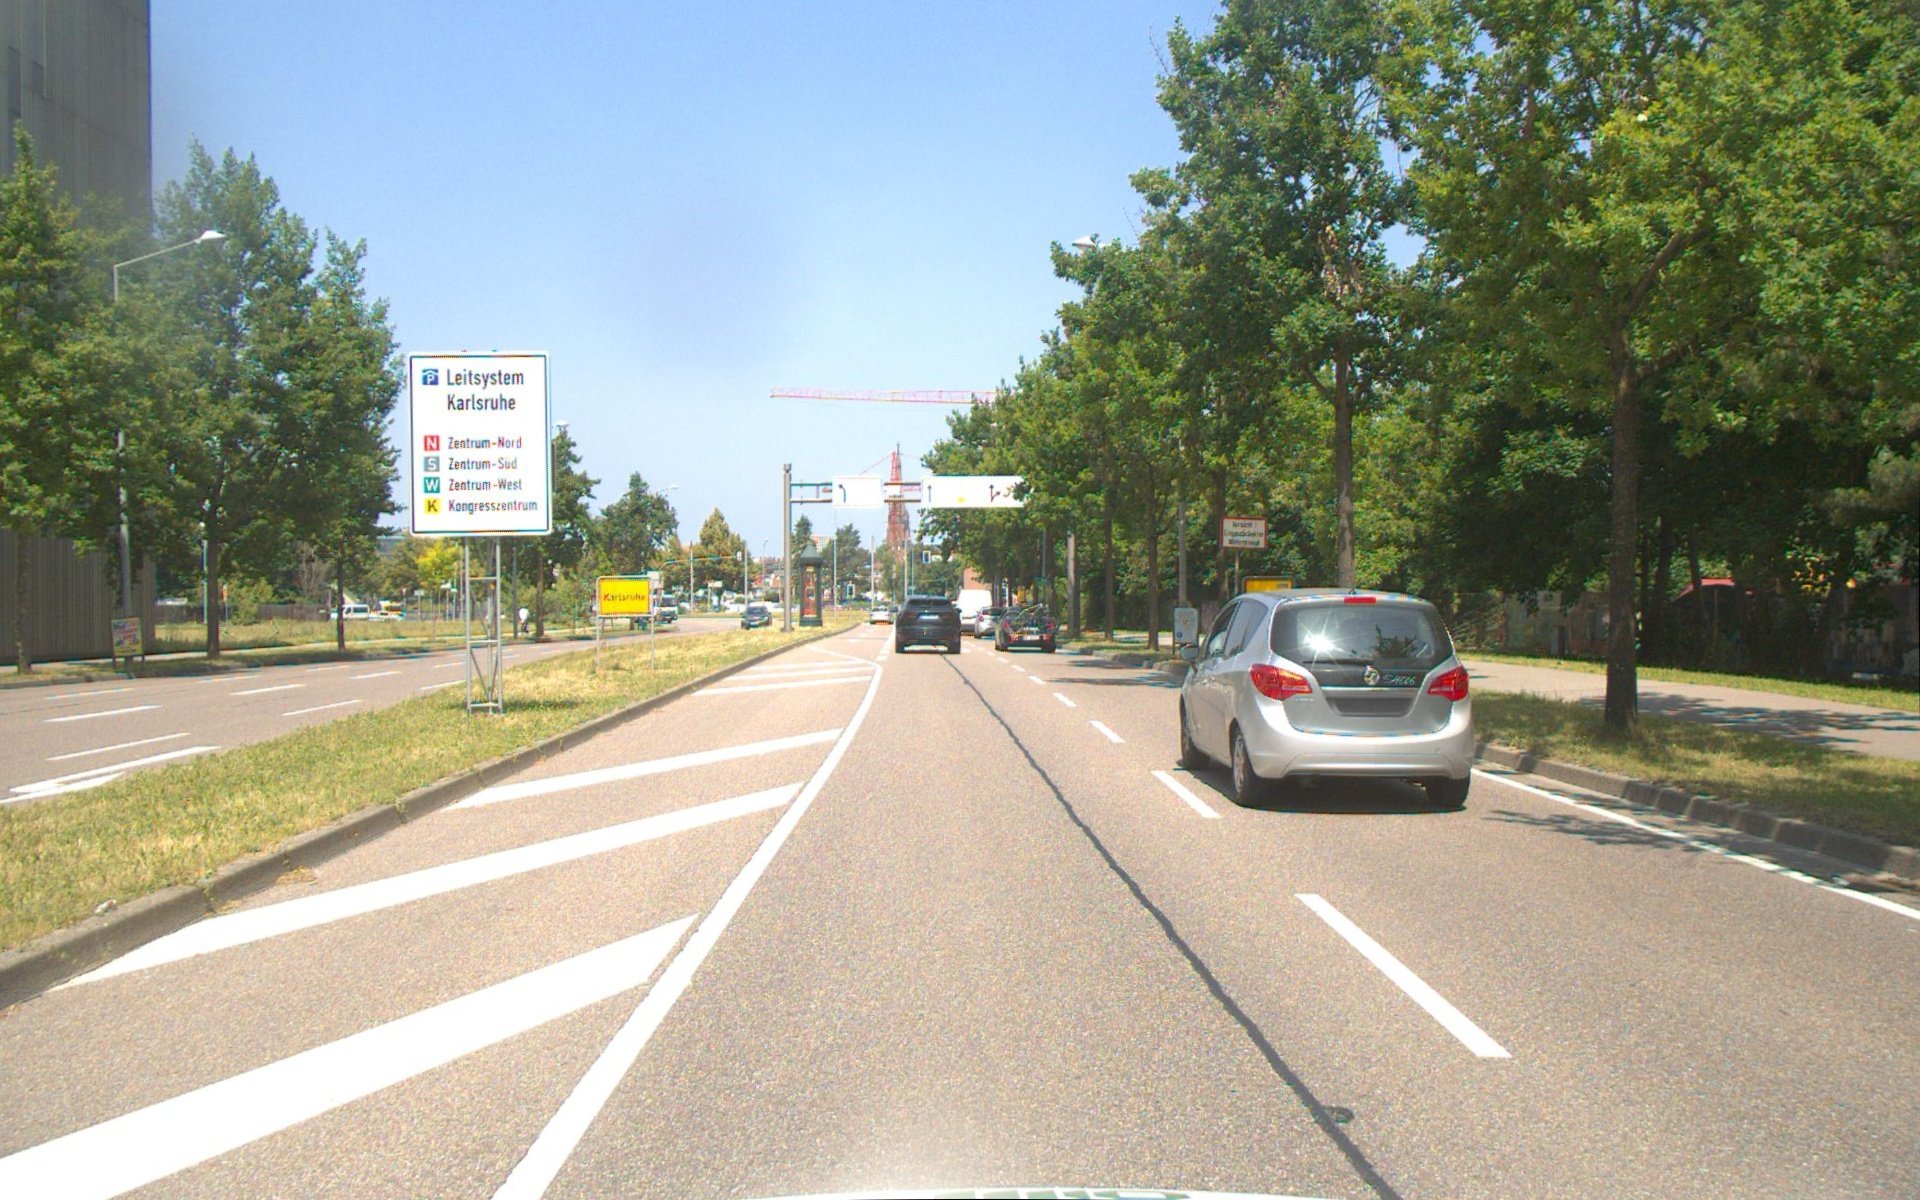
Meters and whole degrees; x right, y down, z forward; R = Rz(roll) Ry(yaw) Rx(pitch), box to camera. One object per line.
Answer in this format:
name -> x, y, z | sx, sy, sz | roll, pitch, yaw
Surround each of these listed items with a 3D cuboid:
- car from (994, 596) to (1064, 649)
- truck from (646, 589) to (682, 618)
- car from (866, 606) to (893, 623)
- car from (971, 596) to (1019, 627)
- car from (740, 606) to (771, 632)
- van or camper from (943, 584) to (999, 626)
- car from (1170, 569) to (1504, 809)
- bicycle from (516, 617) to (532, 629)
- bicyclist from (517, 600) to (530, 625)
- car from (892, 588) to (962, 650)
car -> 2.105, 0.671, 51.562 | 1.973, 1.544, 4.460 | 0, 0, 0
truck -> -27.449, 0.327, 153.639 | 2.587, 2.621, 6.313 | 0, 0, -4
car -> -6.647, 1.184, 136.446 | 1.955, 1.344, 3.995 | 0, 0, -6
car -> 1.642, 0.542, 79.032 | 1.623, 1.380, 4.453 | -1, 0, -8
car -> -13.744, 1.264, 111.368 | 1.855, 1.639, 4.531 | 0, 0, -4
van or camper -> 0.589, 0.276, 93.899 | 2.447, 2.331, 4.910 | -1, 0, -9
car -> 2.854, 0.609, 13.372 | 1.756, 1.640, 3.890 | 1, 0, -1
bicycle -> -26.187, 1.392, 99.311 | 0.471, 0.728, 1.850 | -1, 0, 1
bicyclist -> -26.191, 0.764, 99.262 | 0.610, 1.515, 0.757 | -1, -1, 1
car -> -0.953, 0.538, 48.641 | 1.957, 1.719, 4.033 | 1, 0, -1
